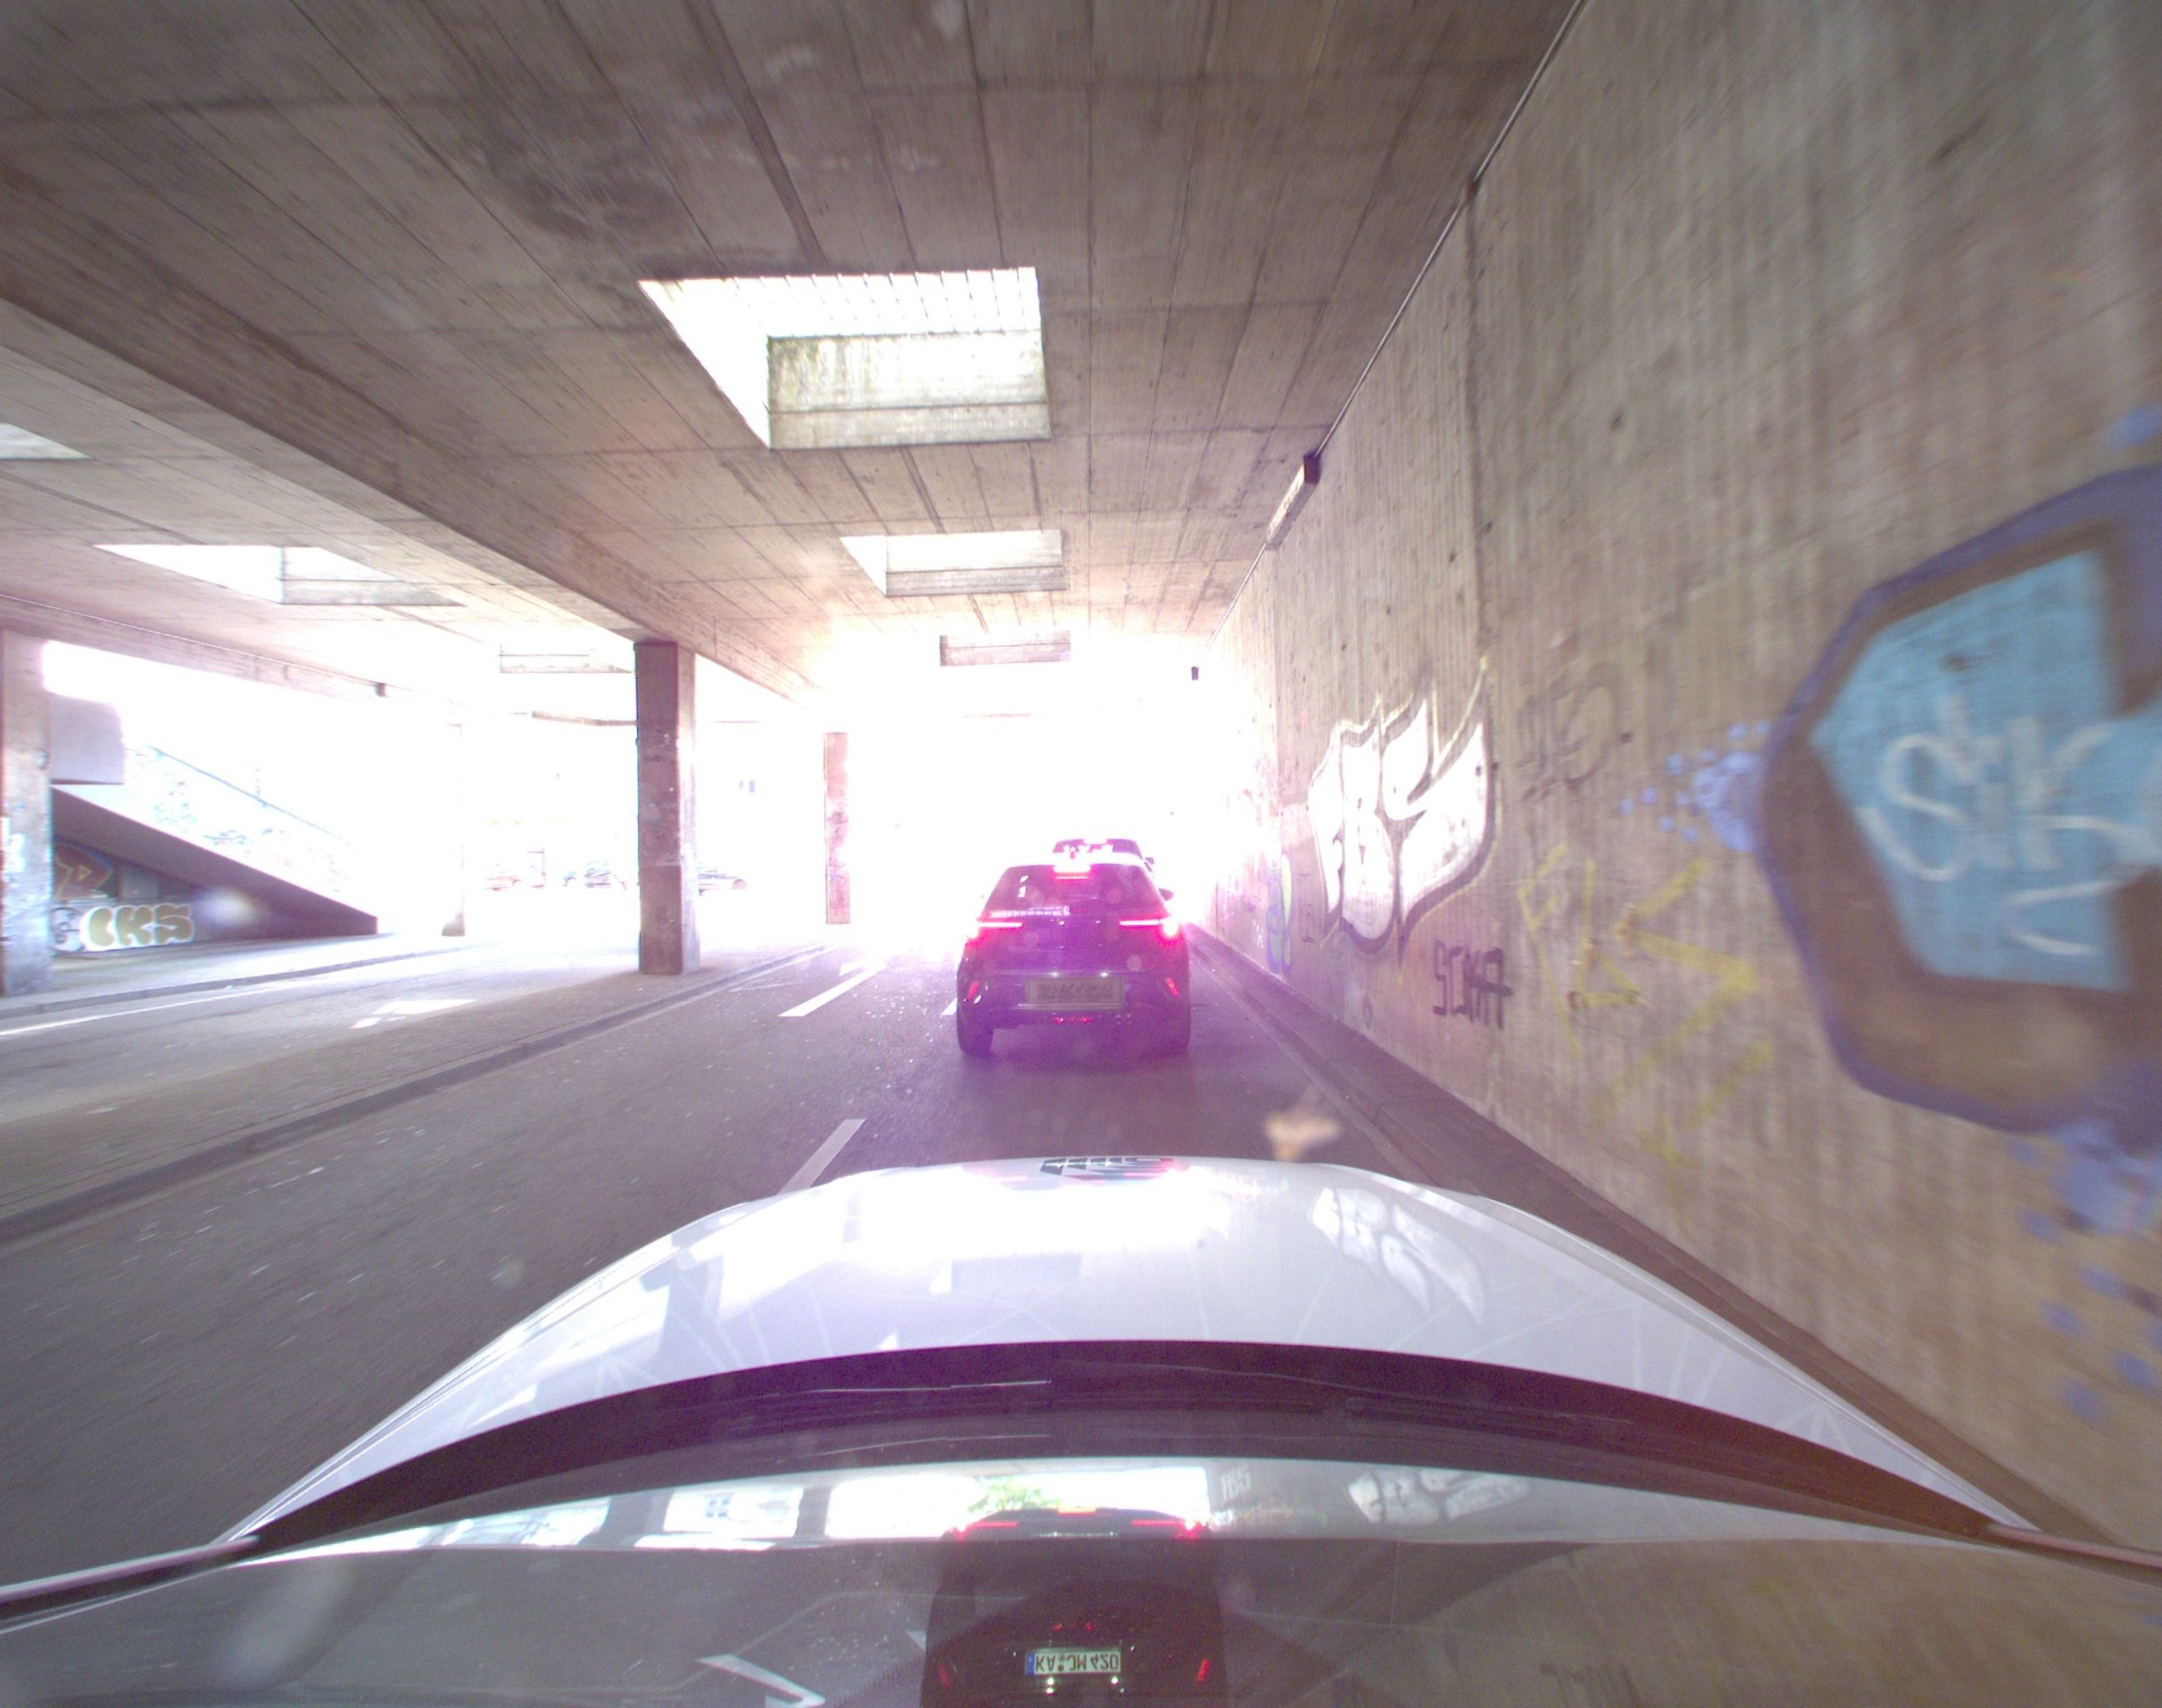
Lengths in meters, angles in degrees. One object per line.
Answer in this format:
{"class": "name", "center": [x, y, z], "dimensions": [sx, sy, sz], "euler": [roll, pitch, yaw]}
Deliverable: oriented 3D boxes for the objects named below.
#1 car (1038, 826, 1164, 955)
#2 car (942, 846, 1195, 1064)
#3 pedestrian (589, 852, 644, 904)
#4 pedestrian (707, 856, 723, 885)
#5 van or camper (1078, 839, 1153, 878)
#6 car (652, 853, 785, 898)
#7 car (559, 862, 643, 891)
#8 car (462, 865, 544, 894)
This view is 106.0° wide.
{"class": "car", "center": [0.355, 0.519, 13.608], "dimensions": [1.779, 1.833, 3.962], "euler": [-1, 0, 2]}
{"class": "car", "center": [-0.017, 0.696, 7.641], "dimensions": [1.747, 1.498, 4.002], "euler": [0, 0, 2]}
{"class": "pedestrian", "center": [-16.097, 0.813, 28.253], "dimensions": [1.103, 1.737, 1.146], "euler": [-2, 0, 15]}
{"class": "pedestrian", "center": [-21.638, 0.963, 48.173], "dimensions": [0.720, 1.705, 0.623], "euler": [0, -1, -6]}
{"class": "van or camper", "center": [1.929, 0.226, 44.983], "dimensions": [3.854, 2.013, 2.005], "euler": [-2, 0, 9]}
{"class": "car", "center": [-14.961, 0.866, 33.743], "dimensions": [4.554, 1.641, 2.004], "euler": [-2, 1, 6]}
{"class": "car", "center": [-27.444, 1.273, 46.633], "dimensions": [3.742, 1.508, 1.752], "euler": [-2, 0, 0]}
{"class": "car", "center": [-32.926, 1.430, 46.466], "dimensions": [3.519, 1.506, 1.563], "euler": [-2, 0, 2]}
